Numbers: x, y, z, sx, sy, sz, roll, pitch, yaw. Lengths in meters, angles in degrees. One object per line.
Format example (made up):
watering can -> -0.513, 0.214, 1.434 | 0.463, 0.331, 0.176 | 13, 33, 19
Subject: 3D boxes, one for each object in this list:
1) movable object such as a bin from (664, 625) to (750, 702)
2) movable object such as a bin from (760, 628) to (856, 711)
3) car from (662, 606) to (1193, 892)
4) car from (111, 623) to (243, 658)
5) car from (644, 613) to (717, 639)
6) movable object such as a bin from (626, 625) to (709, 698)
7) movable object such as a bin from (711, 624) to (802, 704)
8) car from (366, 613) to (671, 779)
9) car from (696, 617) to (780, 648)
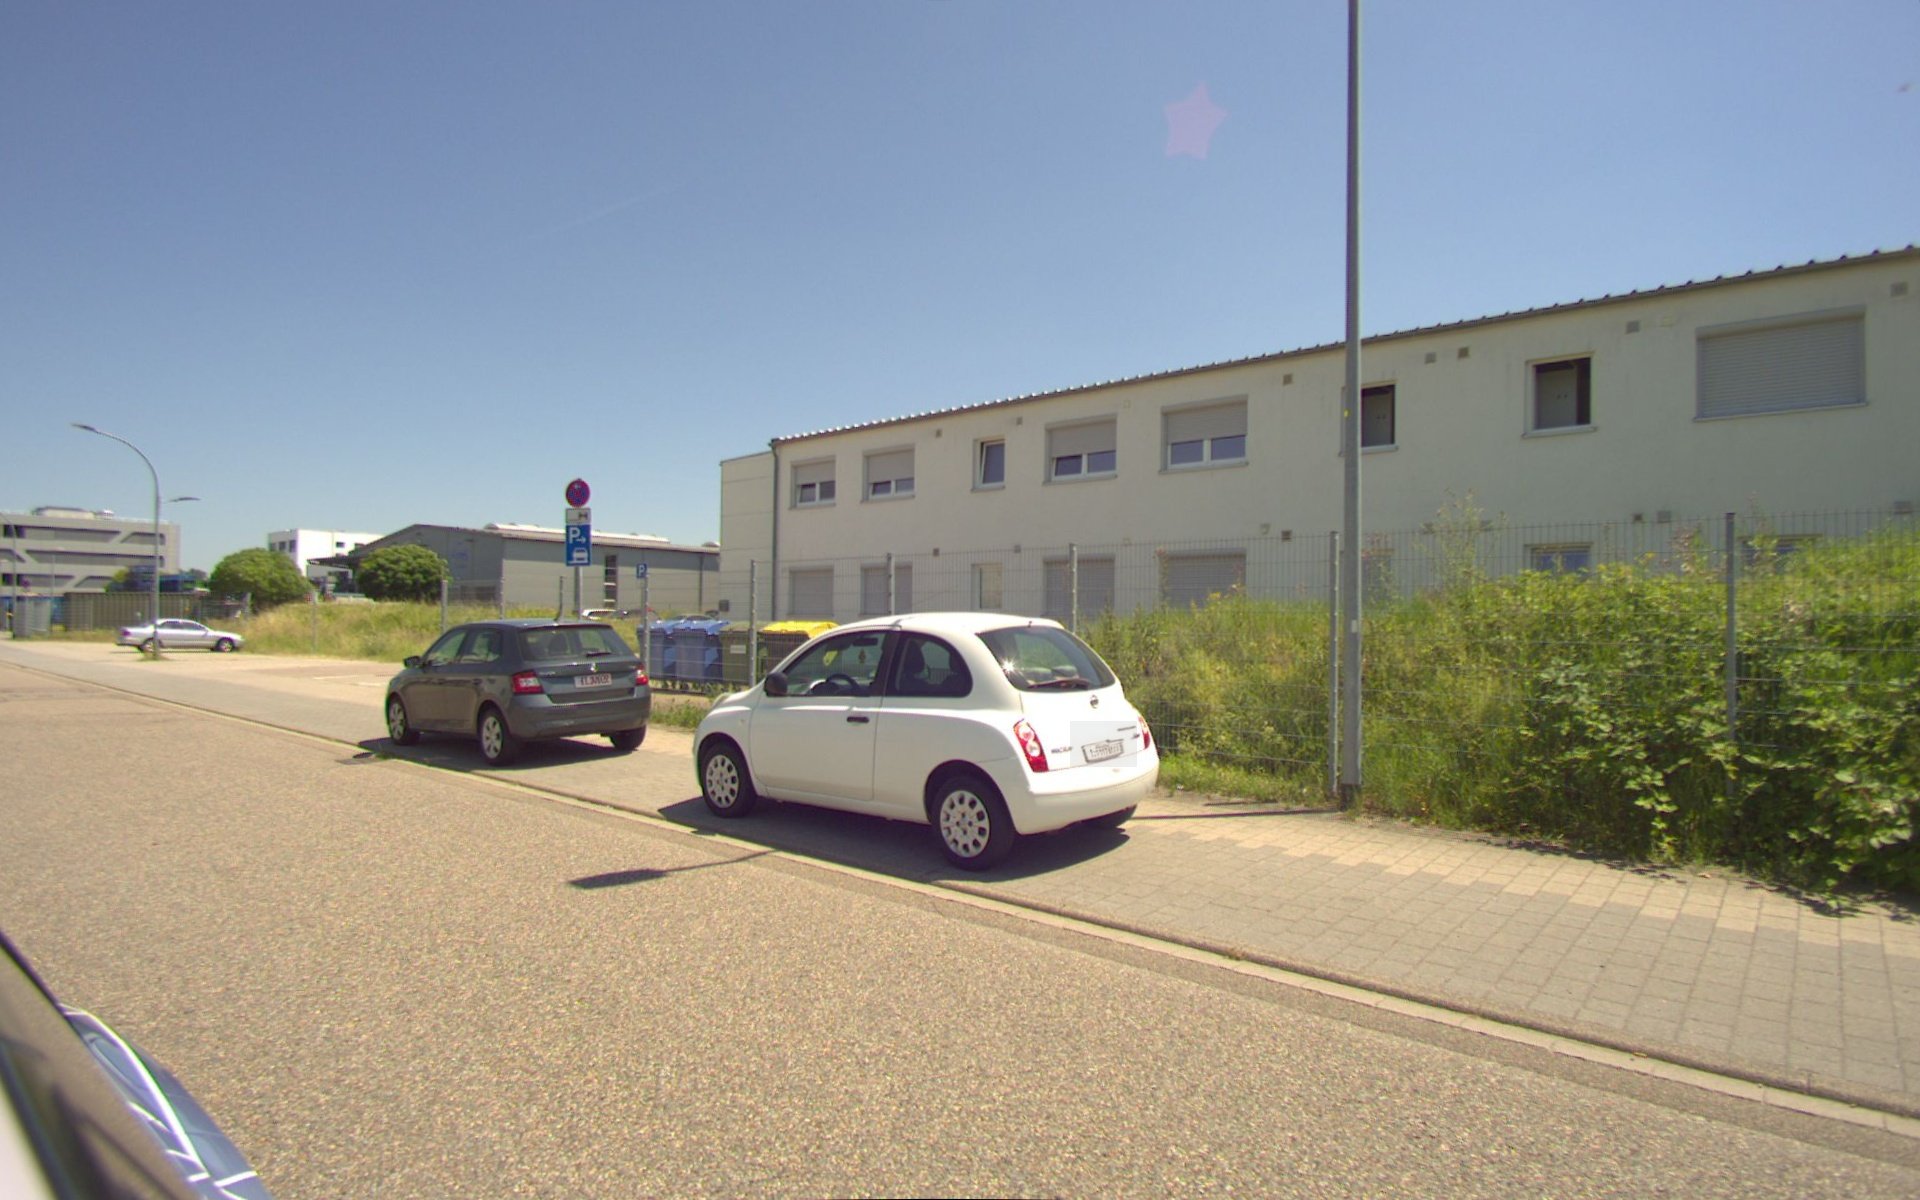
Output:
movable object such as a bin -> -5.116, 1.250, 20.464 | 1.371, 1.459, 1.112 | 0, -1, 44
movable object such as a bin -> -2.789, 1.231, 18.538 | 1.388, 1.416, 1.130 | 0, -1, 43
car -> -0.393, 0.821, 7.355 | 3.756, 1.541, 1.656 | 0, -1, 41
car -> -33.397, 1.729, 43.248 | 1.862, 1.390, 4.201 | -1, -3, 42
car -> -16.353, 1.506, 59.292 | 1.737, 1.408, 3.840 | 0, 0, 40
movable object such as a bin -> -6.204, 1.268, 21.453 | 1.434, 1.459, 1.130 | 0, -1, 44
movable object such as a bin -> -3.944, 1.210, 19.608 | 1.386, 1.459, 1.078 | 0, -1, 36
car -> -5.101, 0.932, 11.461 | 3.908, 1.541, 1.656 | 0, -1, 41
car -> -10.973, 1.584, 50.172 | 1.737, 1.408, 3.840 | 0, 0, 40
